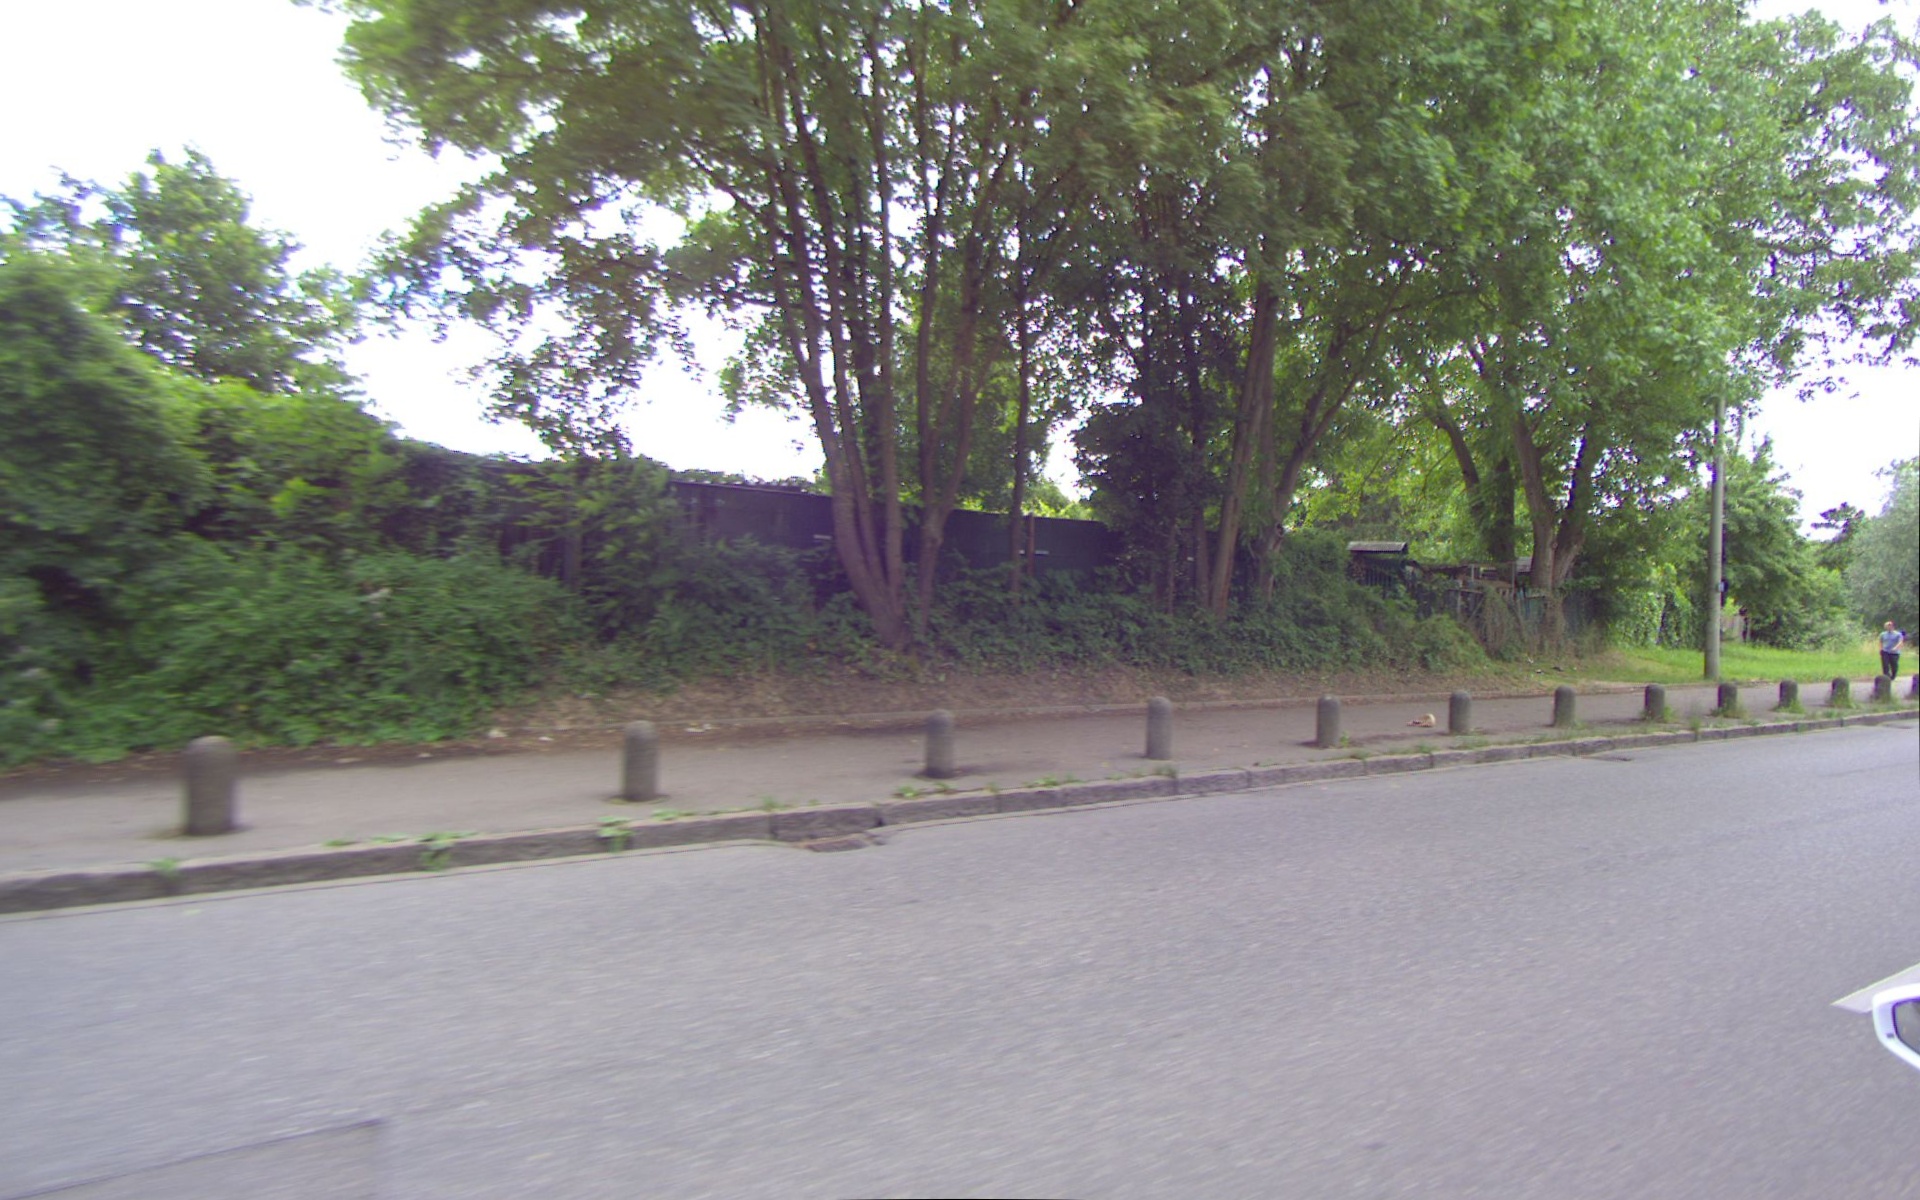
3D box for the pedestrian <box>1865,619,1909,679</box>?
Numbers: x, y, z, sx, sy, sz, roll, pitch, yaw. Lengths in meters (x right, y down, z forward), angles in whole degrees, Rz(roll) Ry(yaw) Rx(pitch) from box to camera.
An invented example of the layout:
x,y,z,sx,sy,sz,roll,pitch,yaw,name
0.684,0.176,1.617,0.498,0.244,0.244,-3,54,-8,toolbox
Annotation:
x,y,z,sx,sy,sz,roll,pitch,yaw,name
26.472,1.393,28.684,0.829,1.656,0.685,1,2,-33,pedestrian
